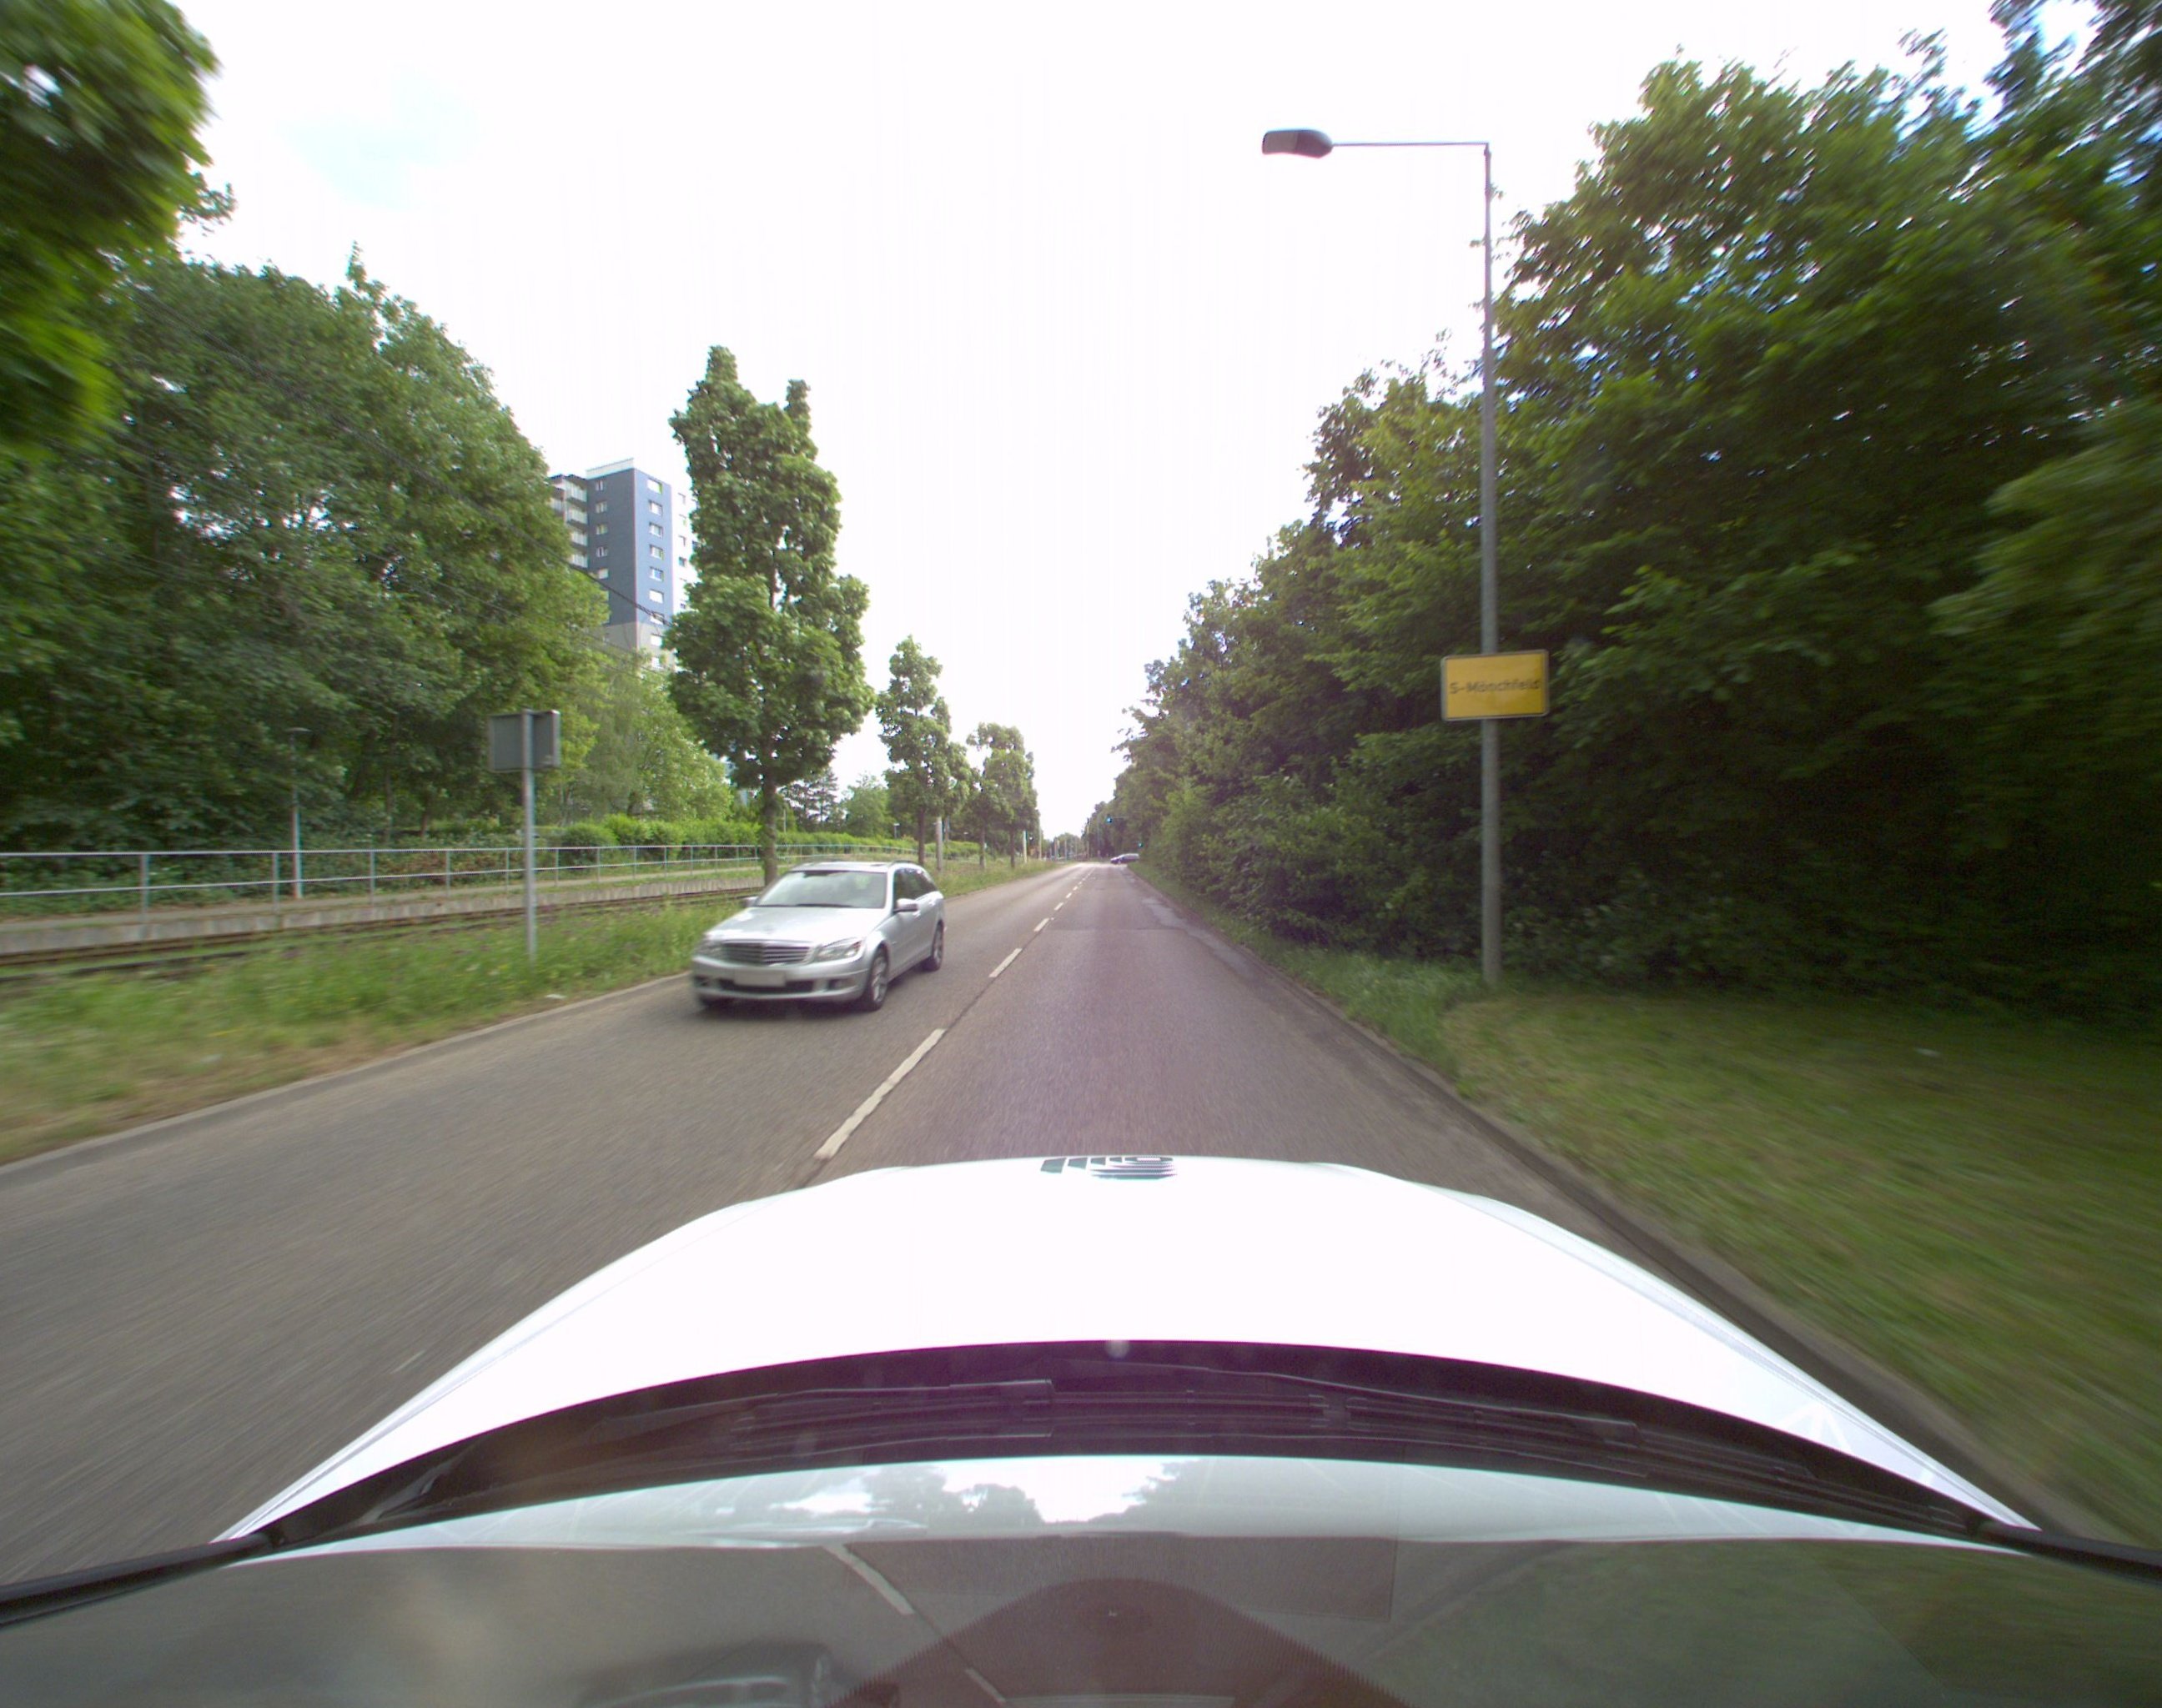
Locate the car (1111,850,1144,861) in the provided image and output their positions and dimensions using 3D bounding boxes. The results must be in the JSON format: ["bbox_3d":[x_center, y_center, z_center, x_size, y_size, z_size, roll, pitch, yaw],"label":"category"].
[{"bbox_3d":[6.554,0.168,115.200,4.253,1.470,1.845,0,0,-18],"label":"car"}]

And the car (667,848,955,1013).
[{"bbox_3d":[-2.769,0.678,9.468,1.767,1.469,4.244,0,1,2],"label":"car"}]
